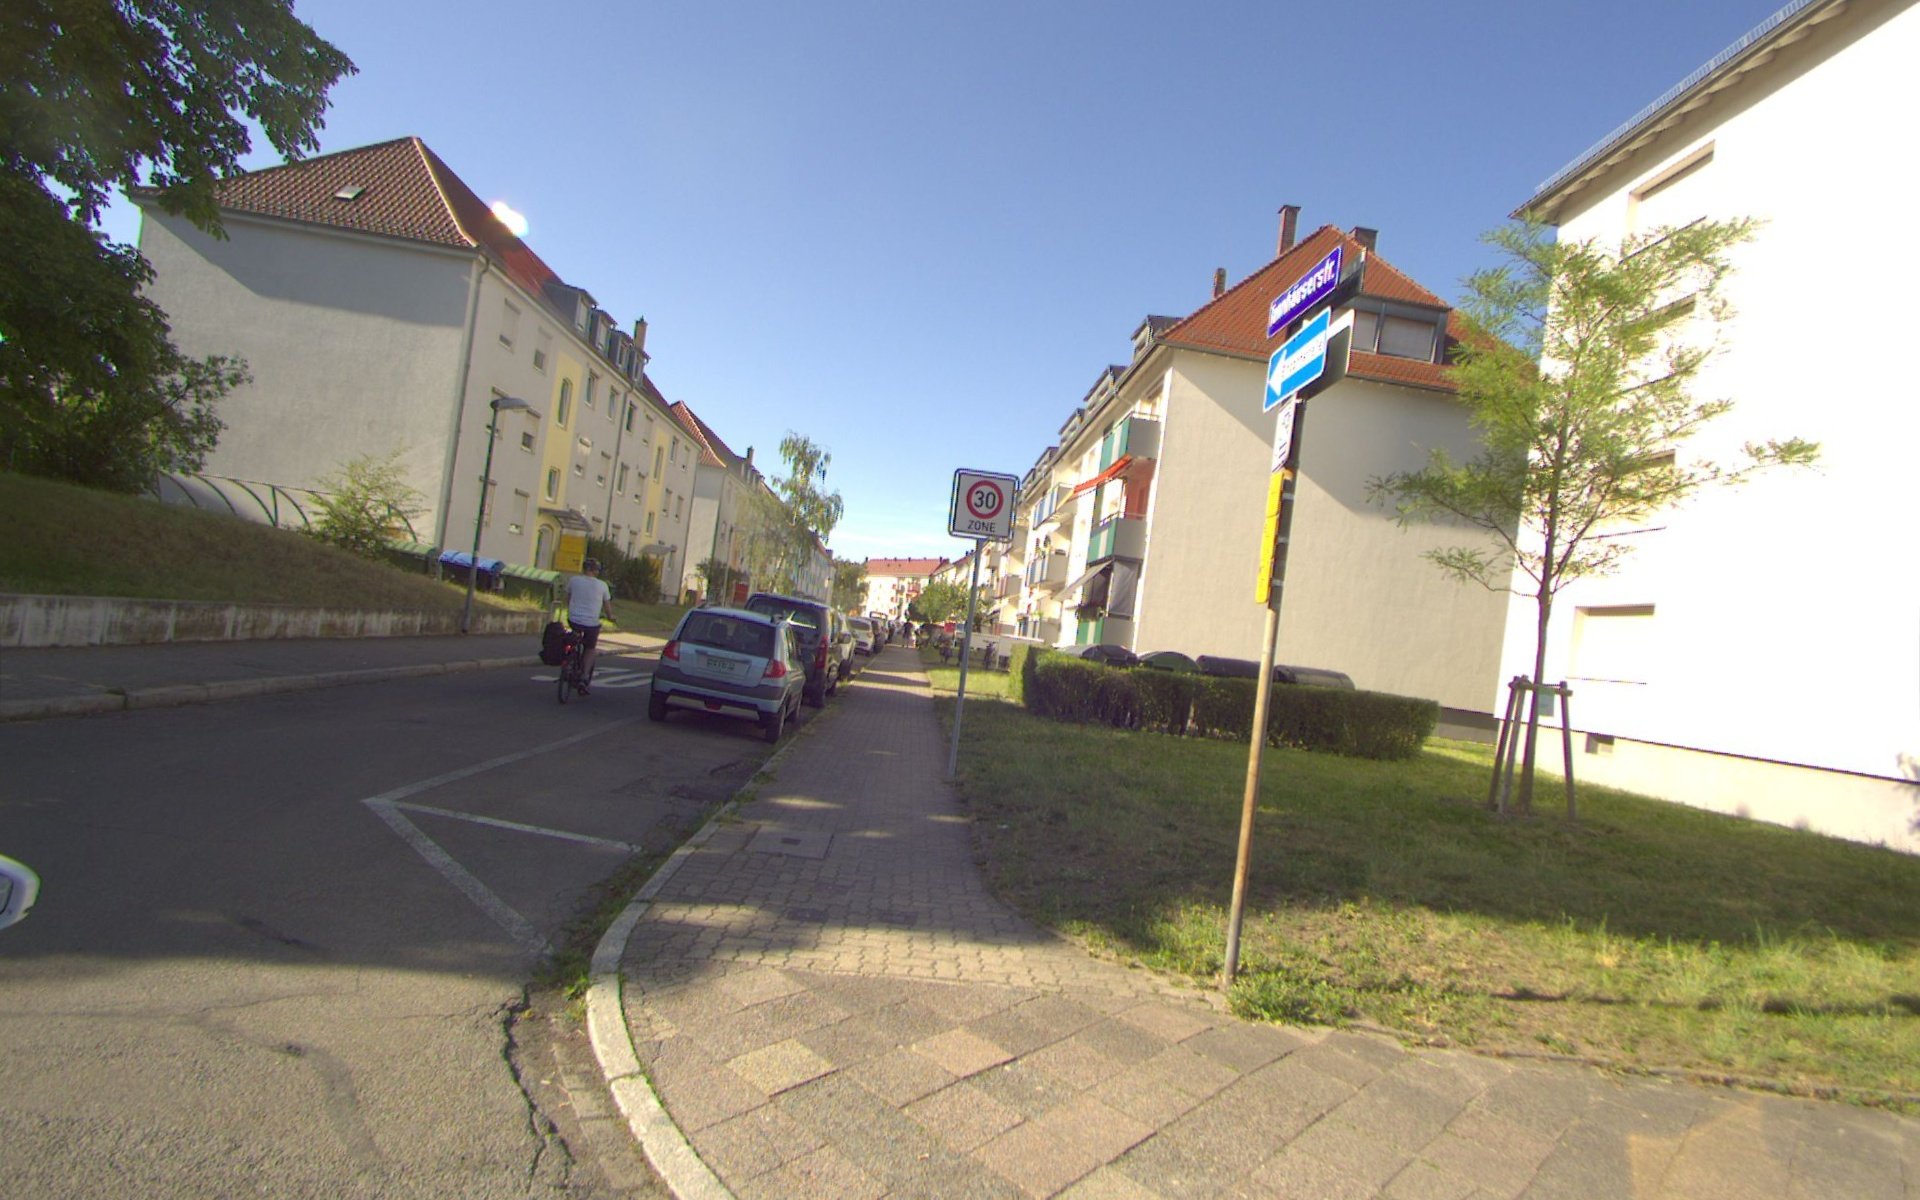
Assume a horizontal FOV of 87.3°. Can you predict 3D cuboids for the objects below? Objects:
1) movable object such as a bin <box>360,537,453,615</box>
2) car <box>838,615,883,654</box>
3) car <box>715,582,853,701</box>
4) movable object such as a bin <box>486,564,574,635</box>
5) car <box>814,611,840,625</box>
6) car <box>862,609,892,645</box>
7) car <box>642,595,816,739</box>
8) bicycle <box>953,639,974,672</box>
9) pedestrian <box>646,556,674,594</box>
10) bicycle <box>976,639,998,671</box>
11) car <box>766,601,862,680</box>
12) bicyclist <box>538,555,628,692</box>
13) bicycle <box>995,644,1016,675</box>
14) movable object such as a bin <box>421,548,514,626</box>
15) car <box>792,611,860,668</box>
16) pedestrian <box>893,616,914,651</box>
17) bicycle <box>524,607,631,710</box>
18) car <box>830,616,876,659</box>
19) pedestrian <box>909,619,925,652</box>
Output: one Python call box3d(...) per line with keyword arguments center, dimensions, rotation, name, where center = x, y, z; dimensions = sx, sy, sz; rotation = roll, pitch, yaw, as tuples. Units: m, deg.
box3d(center=(-13.424, -0.565, 24.454), dimensions=(1.438, 1.632, 1.191), rotation=(8, -1, -3), name="movable object such as a bin")
box3d(center=(-4.749, 1.641, 48.613), dimensions=(1.808, 1.575, 4.000), rotation=(8, -2, -3), name="car")
box3d(center=(-3.190, 0.760, 19.059), dimensions=(1.836, 1.750, 4.295), rotation=(8, -2, -3), name="car")
box3d(center=(-10.550, 0.002, 24.742), dimensions=(1.470, 1.495, 1.265), rotation=(8, -1, -3), name="movable object such as a bin")
box3d(center=(-21.835, 3.008, 165.175), dimensions=(3.929, 1.822, 2.000), rotation=(8, -1, -4), name="car")
box3d(center=(-5.550, 1.826, 67.529), dimensions=(1.595, 2.168, 4.000), rotation=(8, -2, -3), name="car")
box3d(center=(-2.941, 0.822, 13.570), dimensions=(1.630, 1.445, 3.898), rotation=(8, -2, -5), name="car")
box3d(center=(0.115, 2.096, 38.314), dimensions=(0.551, 1.105, 1.901), rotation=(8, -2, -3), name="bicycle")
box3d(center=(-15.270, -1.260, 51.265), dimensions=(0.956, 1.735, 0.946), rotation=(8, -1, -3), name="pedestrian")
box3d(center=(1.028, 2.099, 38.449), dimensions=(0.551, 1.105, 1.901), rotation=(8, -2, -3), name="bicycle")
box3d(center=(-3.686, 1.025, 26.057), dimensions=(1.954, 1.610, 4.124), rotation=(8, -2, -4), name="car")
box3d(center=(-4.787, 0.302, 12.820), dimensions=(0.684, 1.614, 0.791), rotation=(8, -1, -5), name="bicyclist")
box3d(center=(1.739, 2.284, 38.759), dimensions=(0.506, 1.066, 1.865), rotation=(8, -2, -3), name="bicycle")
box3d(center=(-11.991, -0.296, 24.569), dimensions=(1.477, 1.641, 1.263), rotation=(8, -1, -3), name="movable object such as a bin")
box3d(center=(-4.141, 1.206, 31.558), dimensions=(1.731, 1.448, 3.628), rotation=(8, -2, -4), name="car")
box3d(center=(-3.520, 2.100, 63.046), dimensions=(1.025, 2.037, 1.023), rotation=(8, -1, -2), name="pedestrian")
box3d(center=(-4.850, 0.719, 12.875), dimensions=(0.651, 1.140, 1.766), rotation=(9, -2, -4), name="bicycle")
box3d(center=(-4.601, 1.604, 43.675), dimensions=(1.608, 1.507, 3.623), rotation=(10, -2, -4), name="car")
box3d(center=(-2.750, 2.294, 64.971), dimensions=(0.779, 2.037, 1.082), rotation=(7, -1, -3), name="pedestrian")
